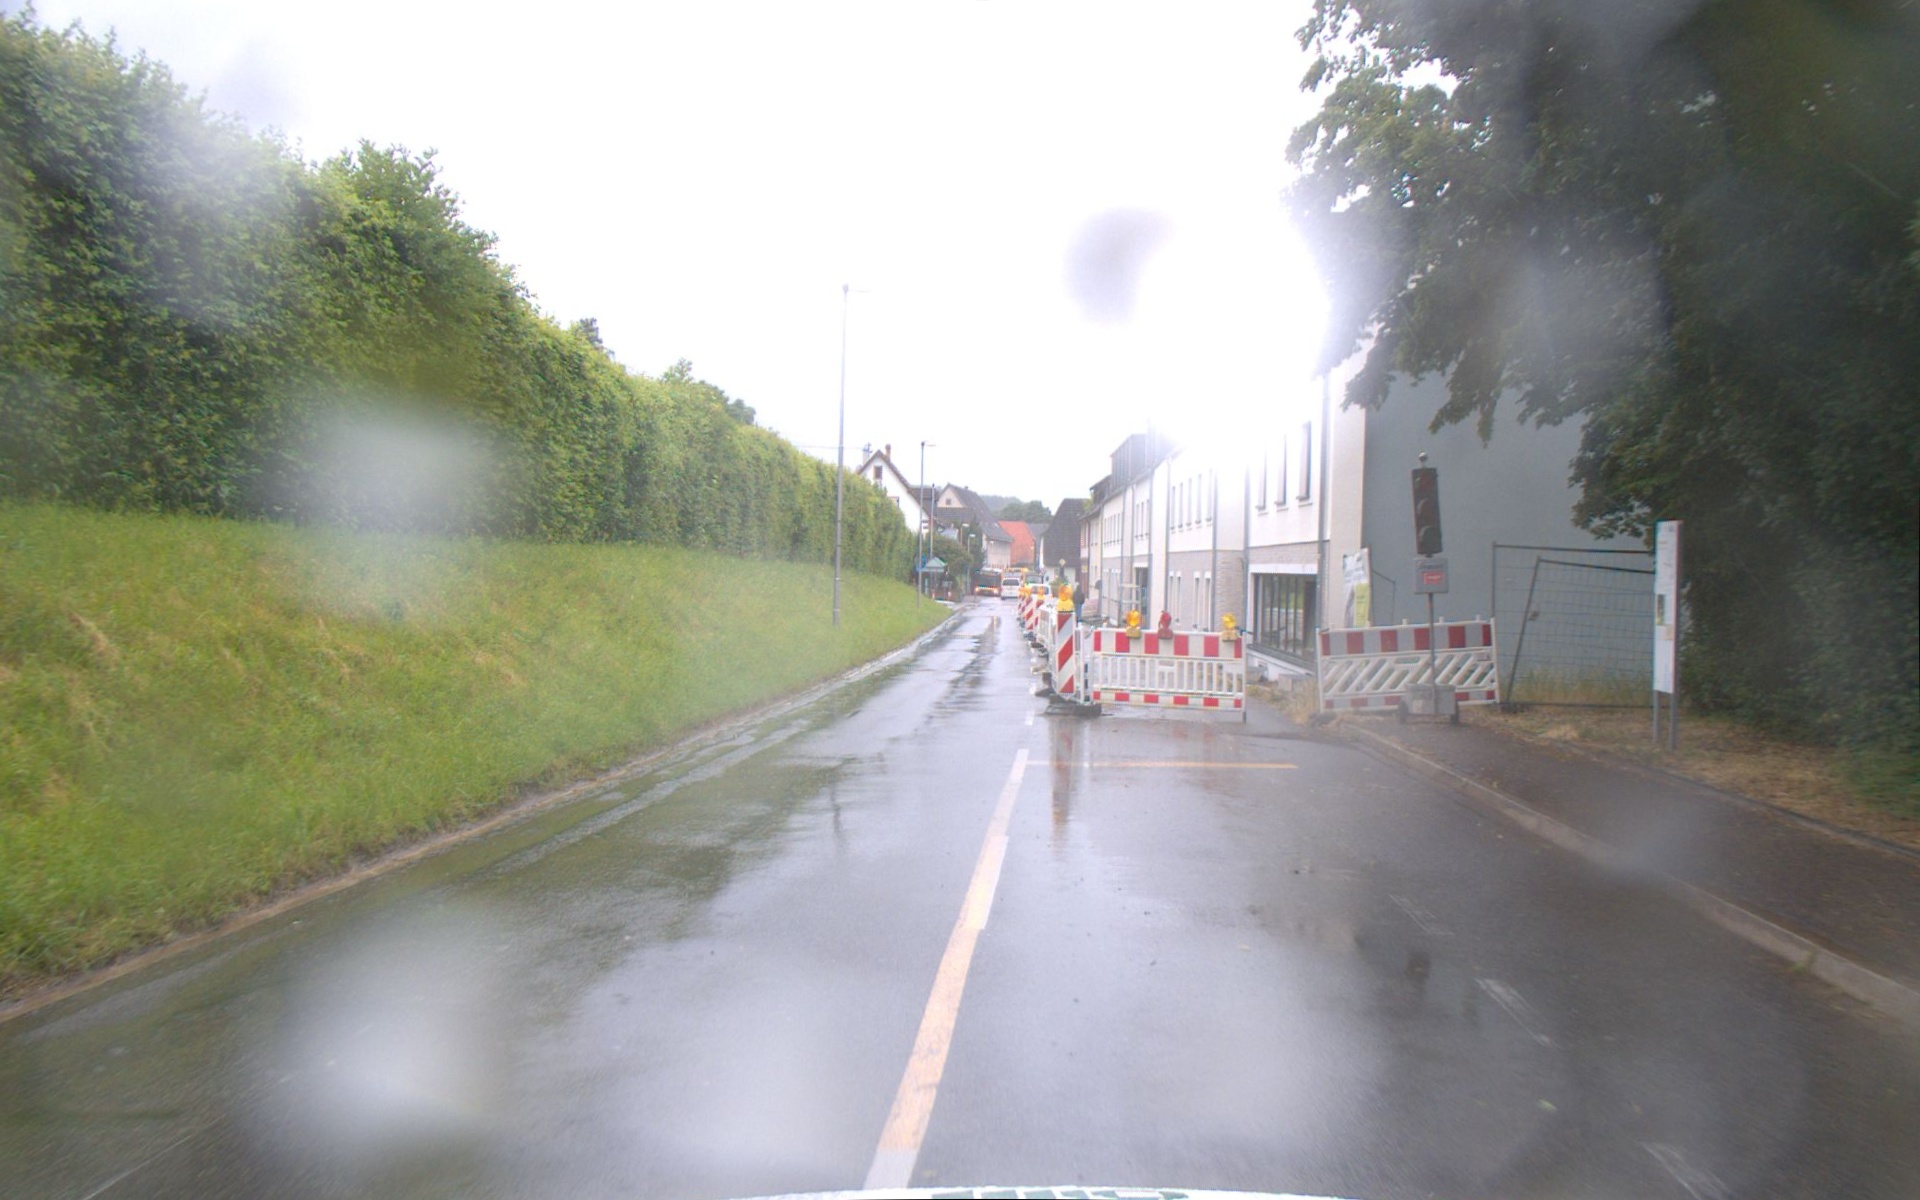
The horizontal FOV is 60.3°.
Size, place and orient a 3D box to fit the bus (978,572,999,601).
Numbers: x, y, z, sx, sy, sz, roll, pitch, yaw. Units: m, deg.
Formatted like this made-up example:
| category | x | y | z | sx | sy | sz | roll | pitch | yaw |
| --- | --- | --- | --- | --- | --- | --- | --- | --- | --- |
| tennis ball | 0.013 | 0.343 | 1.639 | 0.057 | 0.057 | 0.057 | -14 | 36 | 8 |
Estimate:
| category | x | y | z | sx | sy | sz | roll | pitch | yaw |
| --- | --- | --- | --- | --- | --- | --- | --- | --- | --- |
| bus | 3.147 | -1.509 | 184.429 | 2.195 | 3.157 | 7.032 | -2 | 0 | 1 |

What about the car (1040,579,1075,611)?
| category | x | y | z | sx | sy | sz | roll | pitch | yaw |
| --- | --- | --- | --- | --- | --- | --- | --- | --- | --- |
| car | 5.771 | -0.309 | 98.308 | 1.864 | 1.803 | 3.888 | -2 | 0 | 2 |

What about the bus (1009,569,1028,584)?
| category | x | y | z | sx | sy | sz | roll | pitch | yaw |
| --- | --- | --- | --- | --- | --- | --- | --- | --- | --- |
| bus | 6.158 | -2.460 | 173.747 | 1.757 | 1.434 | 4.002 | 3 | 0 | 4 |

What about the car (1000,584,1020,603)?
| category | x | y | z | sx | sy | sz | roll | pitch | yaw |
| --- | --- | --- | --- | --- | --- | --- | --- | --- | --- |
| car | 4.542 | -0.568 | 150.656 | 1.780 | 1.670 | 4.096 | -2 | 0 | 2 |

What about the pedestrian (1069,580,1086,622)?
| category | x | y | z | sx | sy | sz | roll | pitch | yaw |
| --- | --- | --- | --- | --- | --- | --- | --- | --- | --- |
| pedestrian | 5.120 | 0.050 | 71.944 | 0.651 | 1.786 | 0.812 | -2 | 0 | 2 |

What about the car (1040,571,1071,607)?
| category | x | y | z | sx | sy | sz | roll | pitch | yaw |
| --- | --- | --- | --- | --- | --- | --- | --- | --- | --- |
| car | 6.685 | -0.745 | 115.839 | 1.952 | 2.416 | 4.096 | -2 | 0 | 2 |
